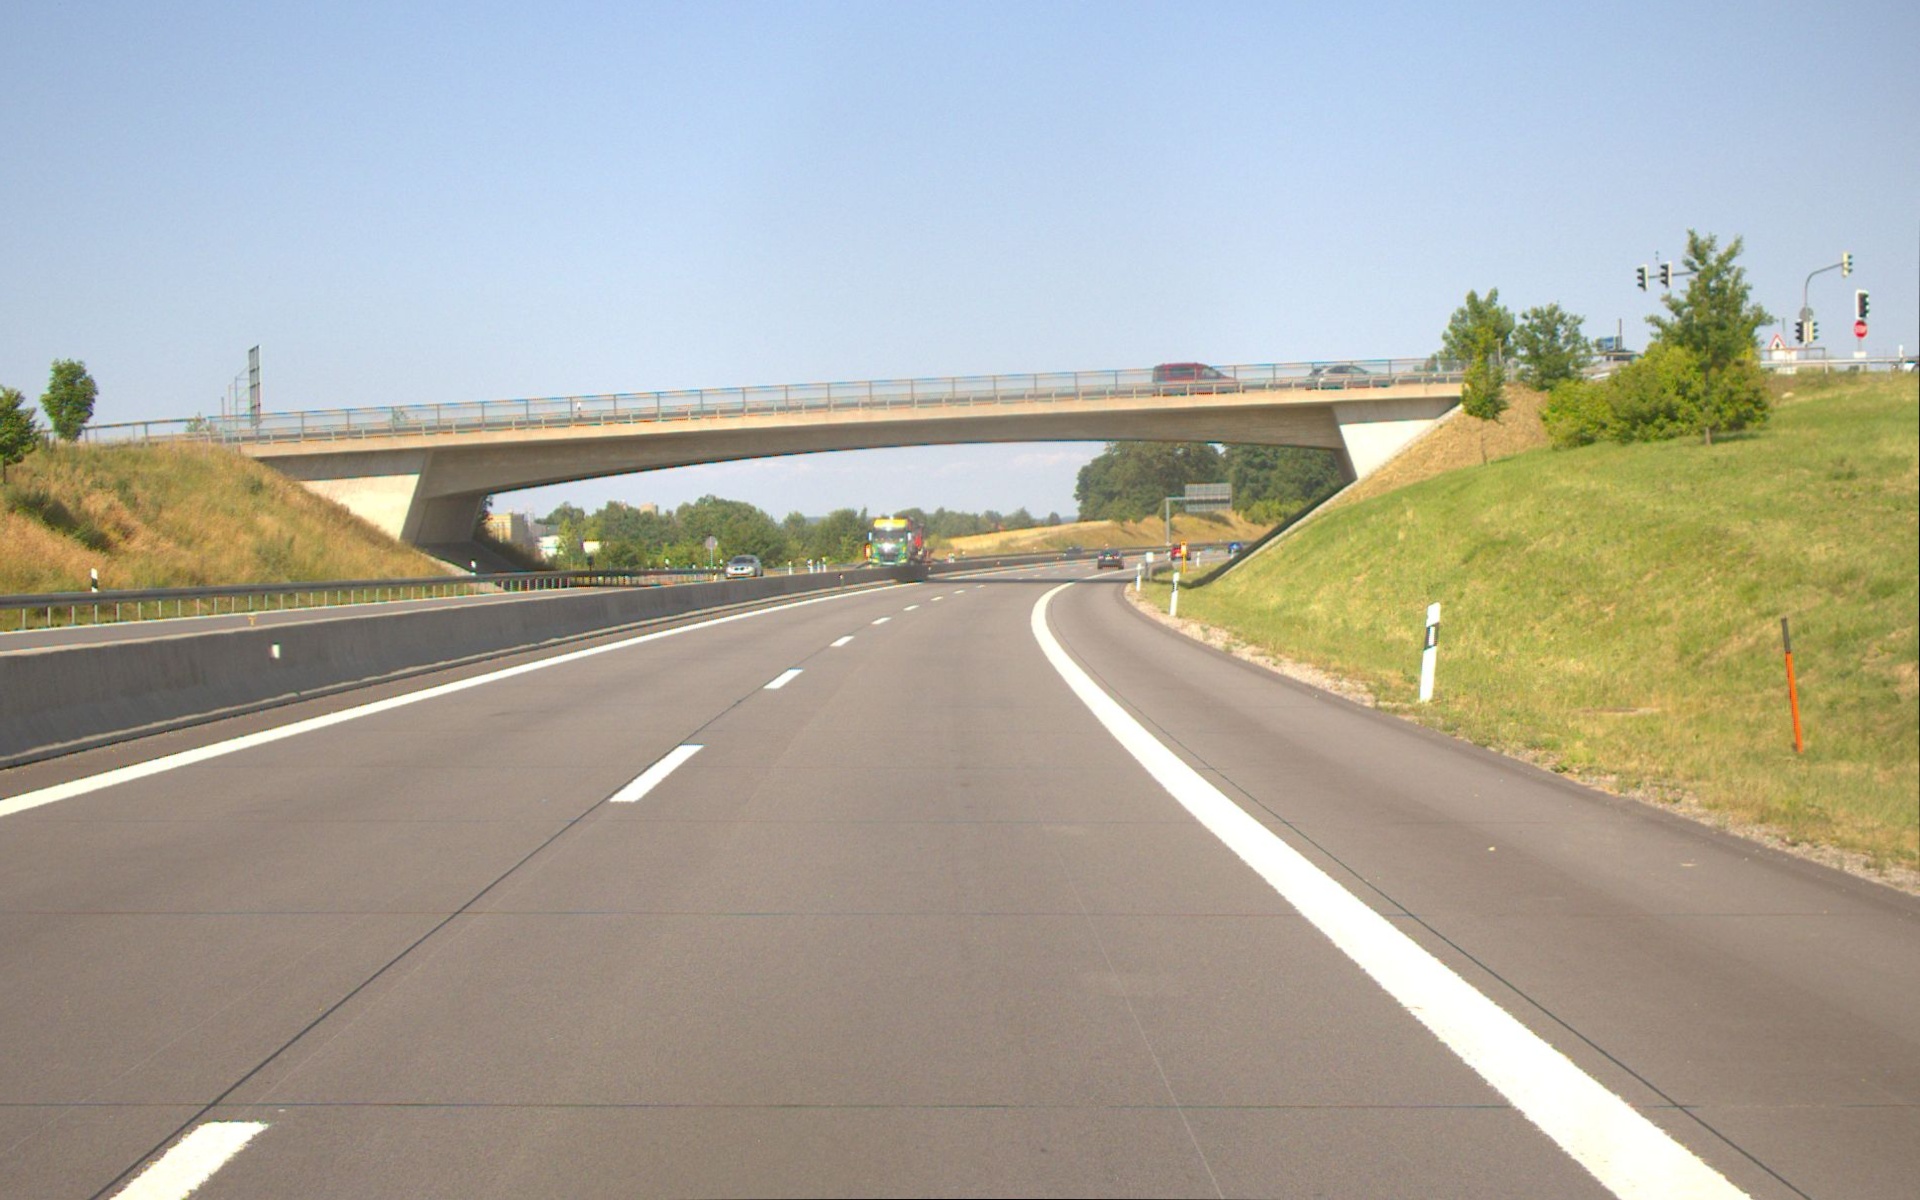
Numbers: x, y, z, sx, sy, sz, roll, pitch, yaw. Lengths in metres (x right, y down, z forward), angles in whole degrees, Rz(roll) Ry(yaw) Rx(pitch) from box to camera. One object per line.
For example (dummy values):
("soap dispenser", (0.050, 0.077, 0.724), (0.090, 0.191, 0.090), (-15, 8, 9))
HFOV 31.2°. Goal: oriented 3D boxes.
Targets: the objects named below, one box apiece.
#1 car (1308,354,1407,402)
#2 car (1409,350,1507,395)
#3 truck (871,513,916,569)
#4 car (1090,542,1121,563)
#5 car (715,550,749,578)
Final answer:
("car", (18.710, -10.457, 162.076), (4.247, 2.014, 2.001), (-2, 2, -5))
("car", (23.425, -10.700, 161.895), (4.122, 1.875, 2.001), (-2, 2, -6))
("truck", (-4.657, -4.171, 242.327), (2.735, 3.818, 5.831), (-1, 1, 3))
("car", (10.466, -3.421, 247.867), (1.993, 1.415, 4.000), (-2, 1, 0))
("car", (-13.196, -2.079, 198.444), (1.861, 1.525, 4.569), (-2, 1, -4))
